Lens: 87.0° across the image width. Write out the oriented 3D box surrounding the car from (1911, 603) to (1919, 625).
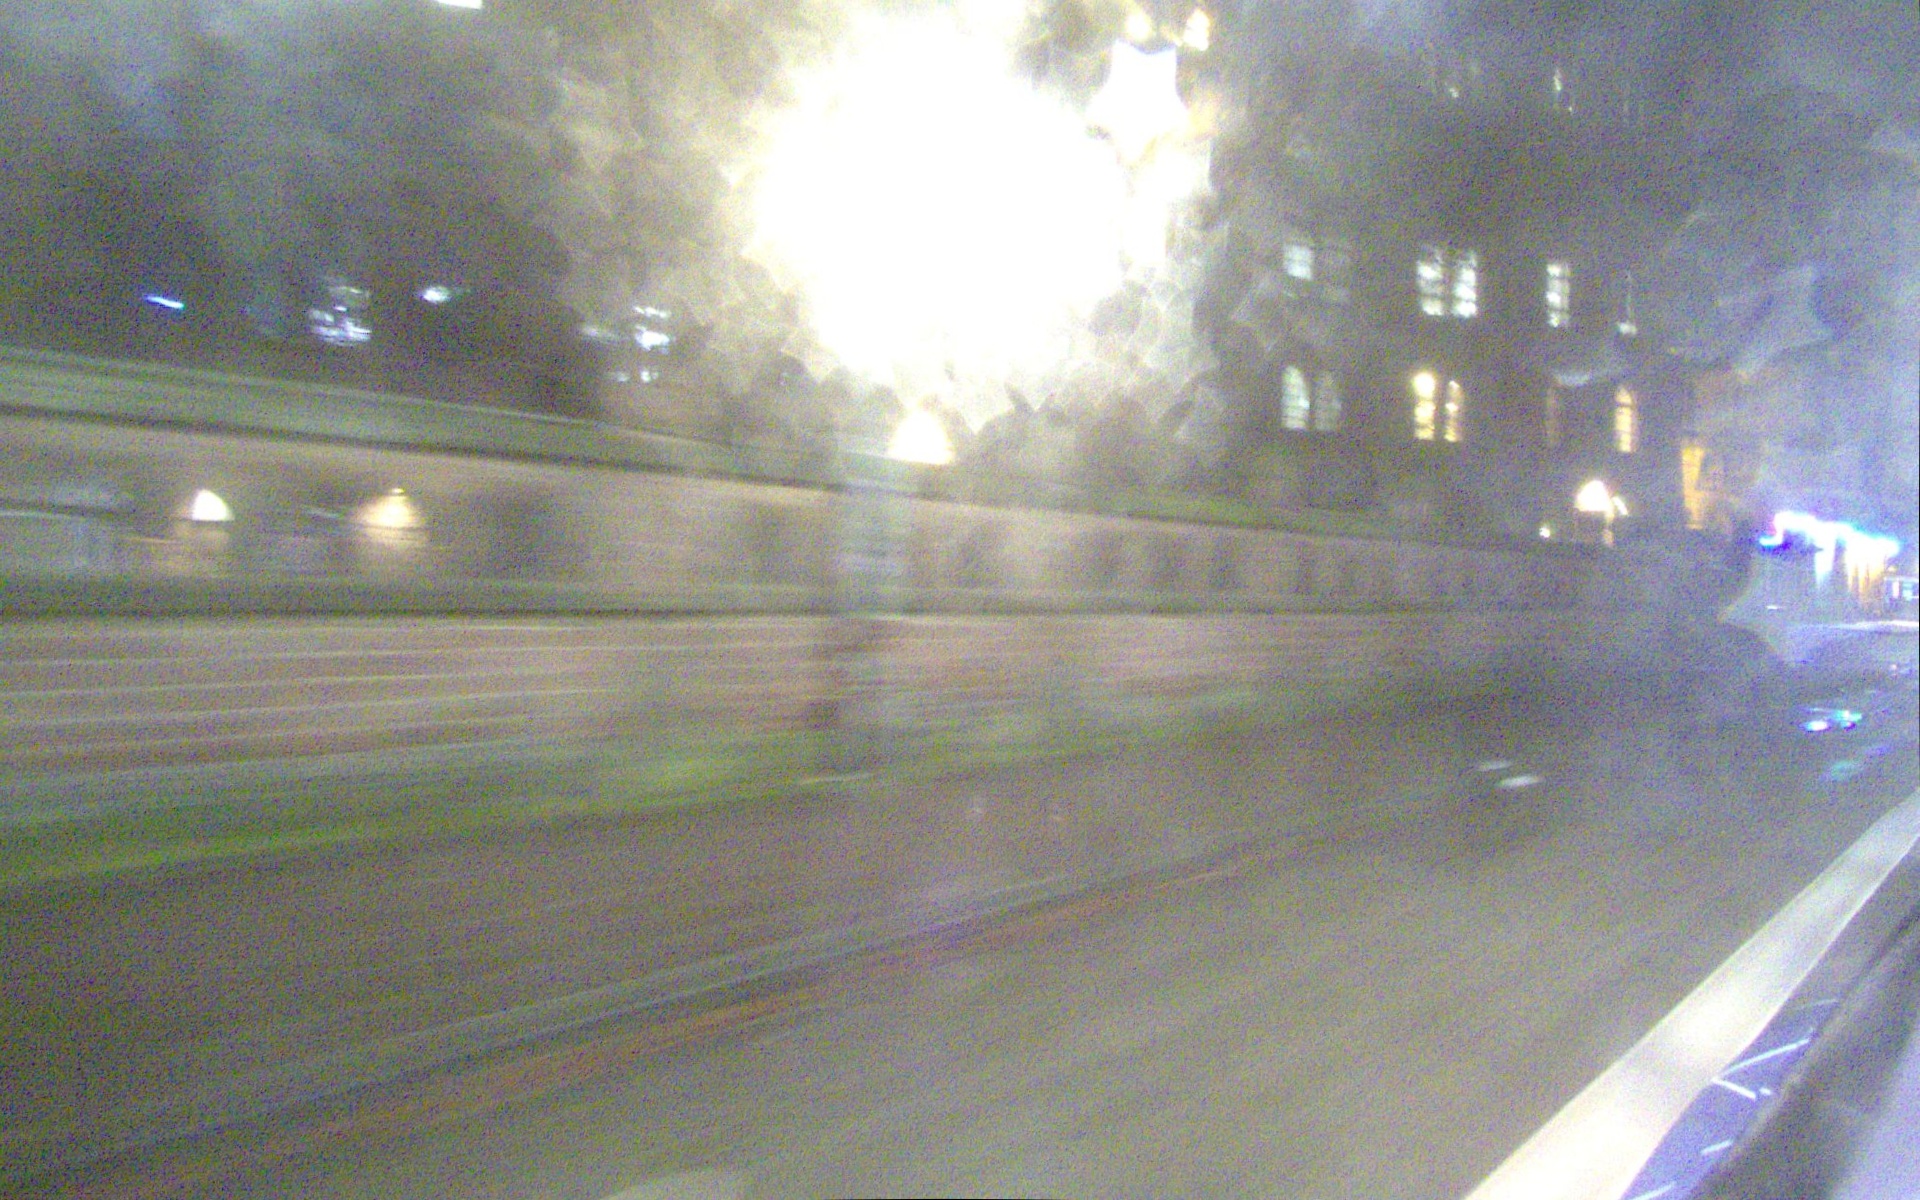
[{"bbox_3d":[70.353,1.068,71.574,4.063,1.556,1.944,1,1,25],"label":"car"}]
